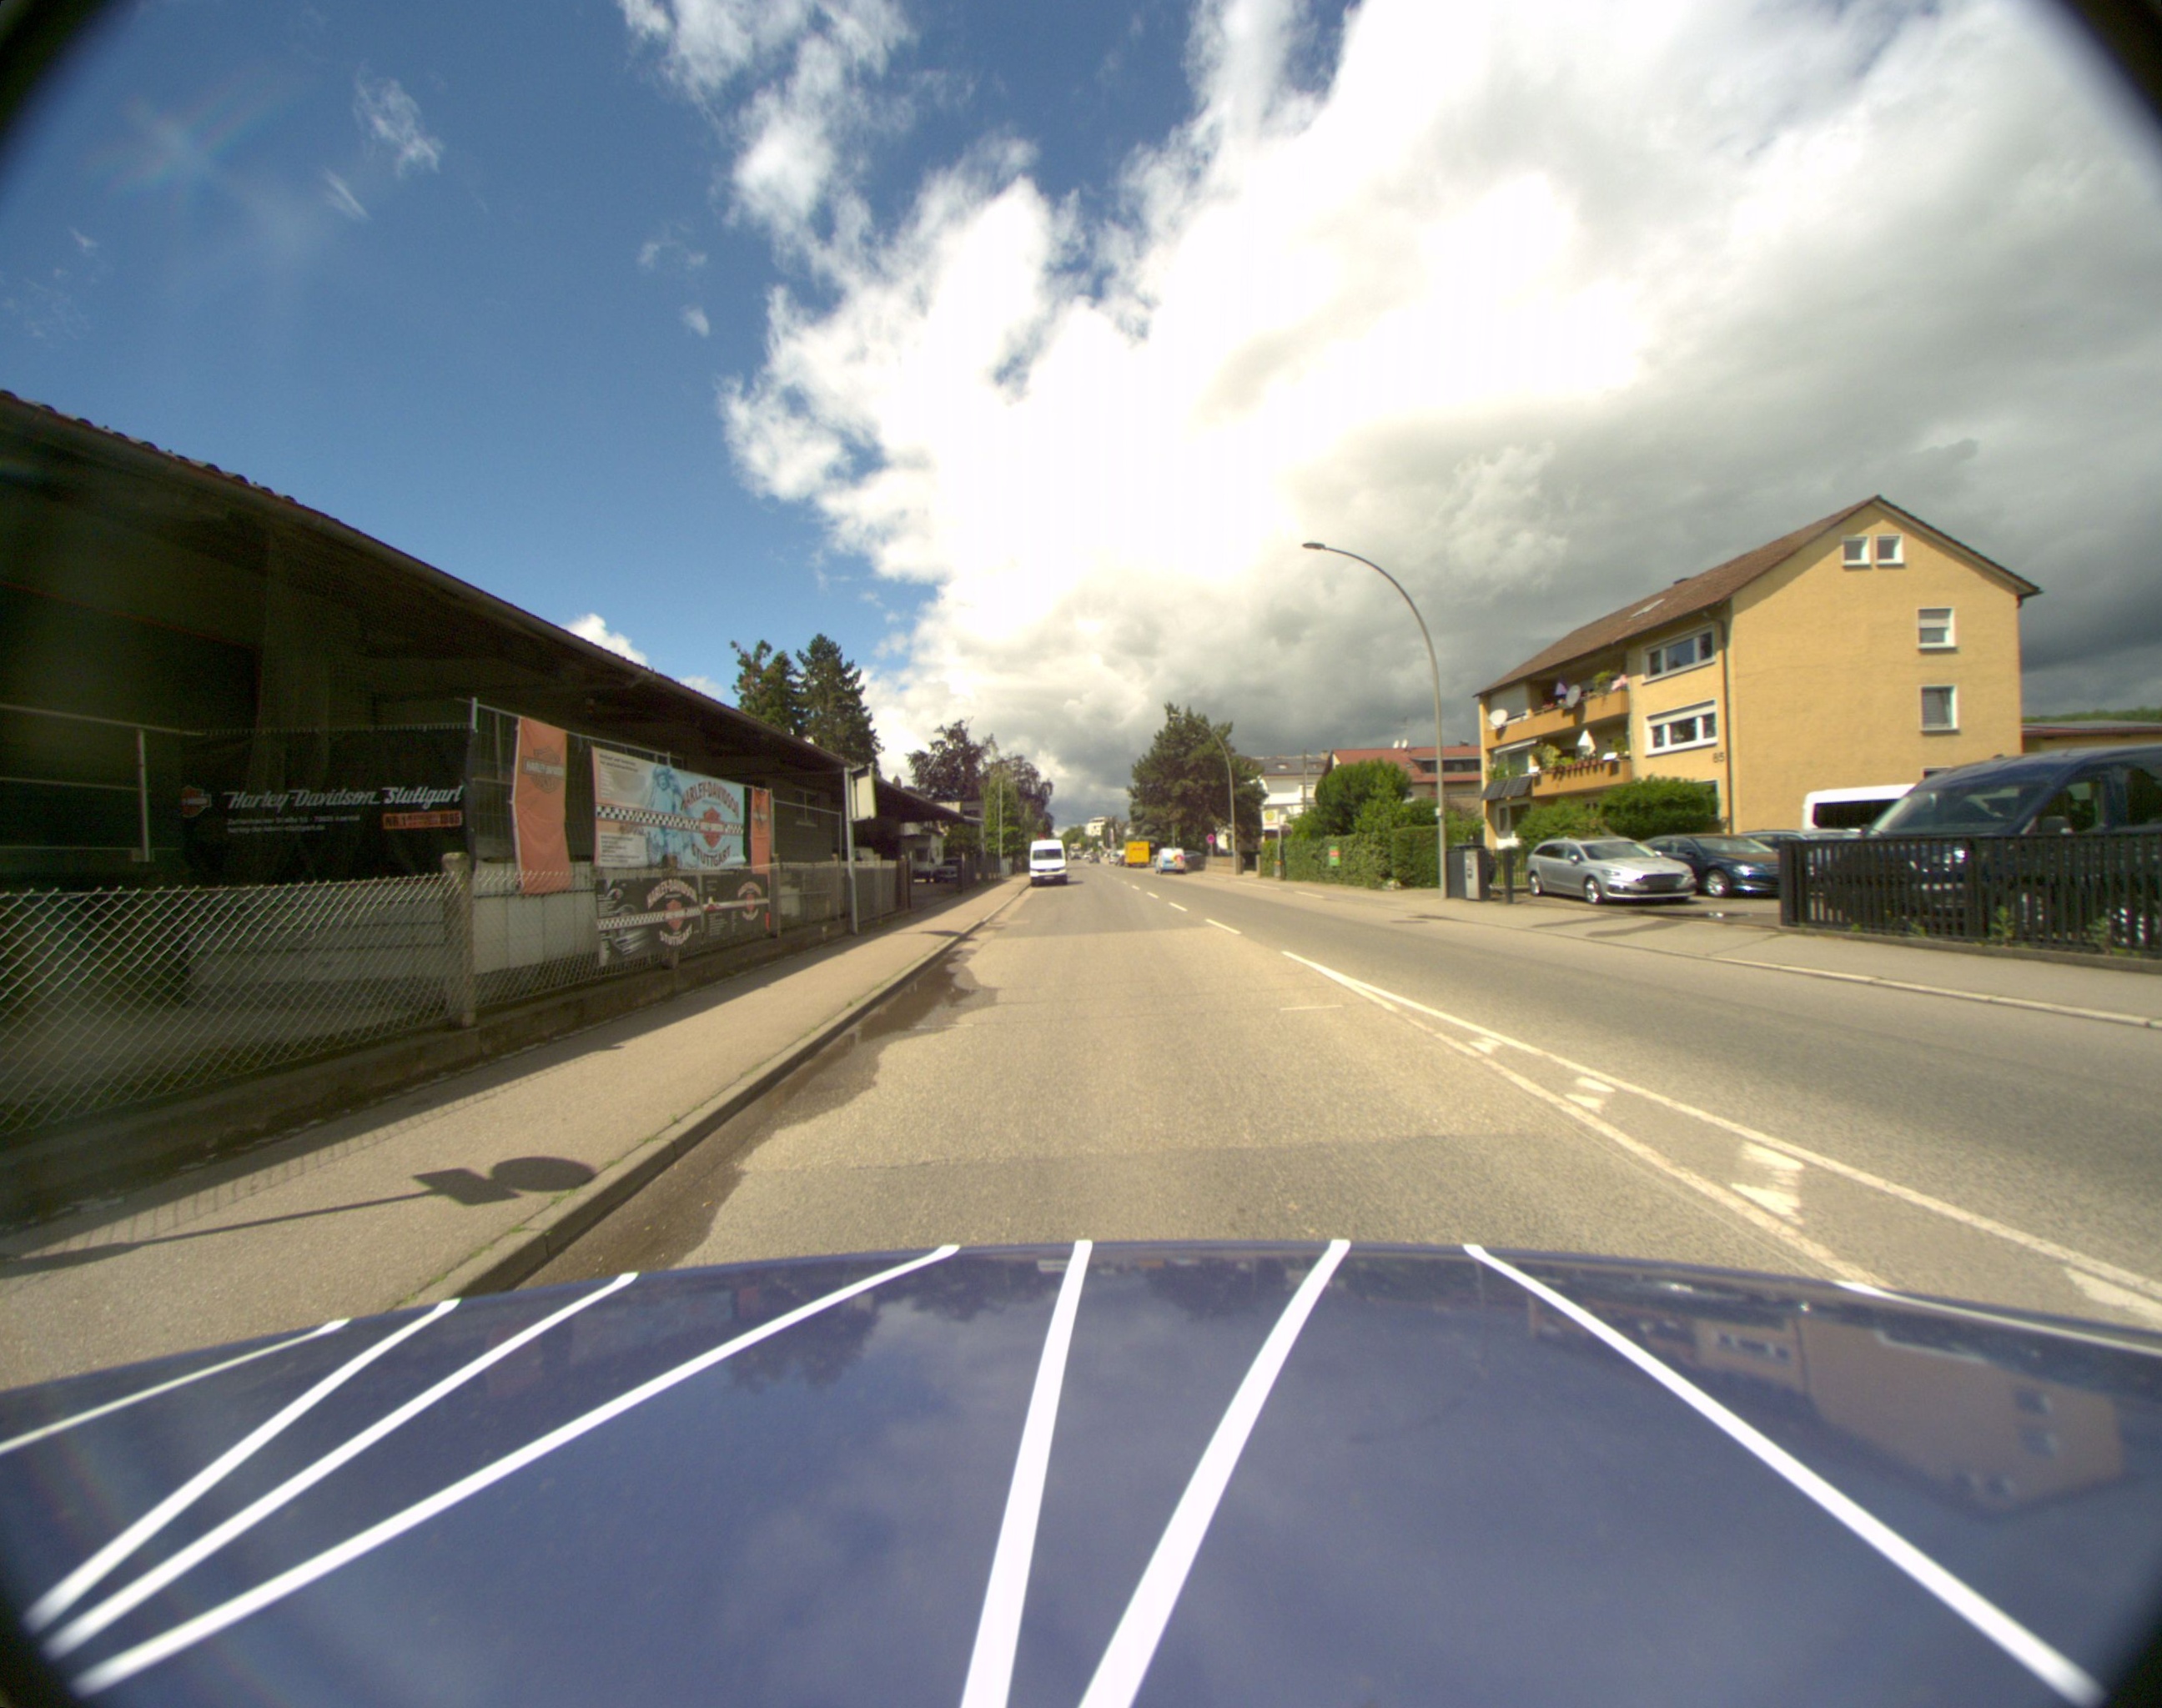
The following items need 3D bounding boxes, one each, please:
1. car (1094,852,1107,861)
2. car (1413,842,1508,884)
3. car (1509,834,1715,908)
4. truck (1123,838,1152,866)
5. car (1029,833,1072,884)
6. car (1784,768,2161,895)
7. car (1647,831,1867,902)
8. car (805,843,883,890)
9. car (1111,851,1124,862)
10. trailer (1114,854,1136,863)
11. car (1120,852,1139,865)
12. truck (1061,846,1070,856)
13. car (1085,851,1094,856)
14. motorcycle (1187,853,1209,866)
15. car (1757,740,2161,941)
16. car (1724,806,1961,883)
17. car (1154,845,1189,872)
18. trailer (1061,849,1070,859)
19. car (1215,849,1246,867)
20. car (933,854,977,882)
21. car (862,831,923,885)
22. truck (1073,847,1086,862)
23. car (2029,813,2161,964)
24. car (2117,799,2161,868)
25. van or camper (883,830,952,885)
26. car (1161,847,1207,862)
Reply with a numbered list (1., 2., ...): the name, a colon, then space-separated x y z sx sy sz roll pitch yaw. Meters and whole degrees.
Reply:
1. car: 3.193 0.381 127.972 1.906 1.509 4.317 -1 0 -2
2. car: 14.256 0.308 28.836 1.848 1.418 4.332 -2 0 7
3. car: 12.445 0.330 18.341 1.997 1.477 5.344 -2 0 10
4. truck: 6.293 -0.218 85.561 2.330 2.986 7.816 0 0 -2
5. car: -1.721 0.213 43.765 2.221 2.673 6.656 -1 0 -2
6. car: 20.562 -0.460 17.929 2.418 2.481 6.135 0 0 2
7. car: 15.428 0.236 17.710 1.848 1.418 4.334 -1 0 11
8. car: -10.491 0.542 34.041 1.999 1.898 4.852 -2 0 -1
9. car: 5.576 0.438 117.268 1.809 1.666 4.127 0 0 -1
10. trailer: 5.717 0.575 99.579 2.324 0.985 7.457 0 0 -1
11. car: 5.937 0.551 93.267 1.999 1.445 4.811 2 0 -1
12. truck: -4.643 -0.982 228.884 2.411 2.722 6.639 -4 1 -1
13. car: 2.218 -0.173 198.099 1.987 1.412 3.999 -1 0 -3
14. motorcycle: 10.554 0.502 68.469 1.872 1.159 0.825 -2 0 16
15. car: 13.838 -0.216 10.920 6.053 2.482 2.477 -2 0 -1
16. car: 17.777 -0.212 18.082 1.848 1.568 4.334 -1 0 11
17. car: 6.558 0.344 55.645 1.838 1.842 4.895 1 -1 -1
18. trailer: -3.608 -0.084 177.282 2.045 2.214 5.078 -1 0 0
19. car: 13.668 0.340 69.659 1.772 1.534 4.086 -2 0 -5
20. car: -7.360 0.780 44.724 1.769 1.480 4.926 -2 0 -1
21. car: -9.994 0.251 40.812 2.023 2.665 5.497 -2 -1 -2
22. truck: -0.307 0.121 188.536 2.880 3.290 8.605 -4 1 -1
23. car: 12.415 0.339 6.953 2.037 1.585 4.283 -2 0 -4
24. car: 28.632 -0.545 18.155 1.849 1.781 4.330 -2 0 0
25. van or camper: -9.933 0.190 46.926 2.889 3.043 6.911 -2 0 -2
26. car: 11.910 0.087 87.989 5.021 1.543 1.972 -2 1 -2
